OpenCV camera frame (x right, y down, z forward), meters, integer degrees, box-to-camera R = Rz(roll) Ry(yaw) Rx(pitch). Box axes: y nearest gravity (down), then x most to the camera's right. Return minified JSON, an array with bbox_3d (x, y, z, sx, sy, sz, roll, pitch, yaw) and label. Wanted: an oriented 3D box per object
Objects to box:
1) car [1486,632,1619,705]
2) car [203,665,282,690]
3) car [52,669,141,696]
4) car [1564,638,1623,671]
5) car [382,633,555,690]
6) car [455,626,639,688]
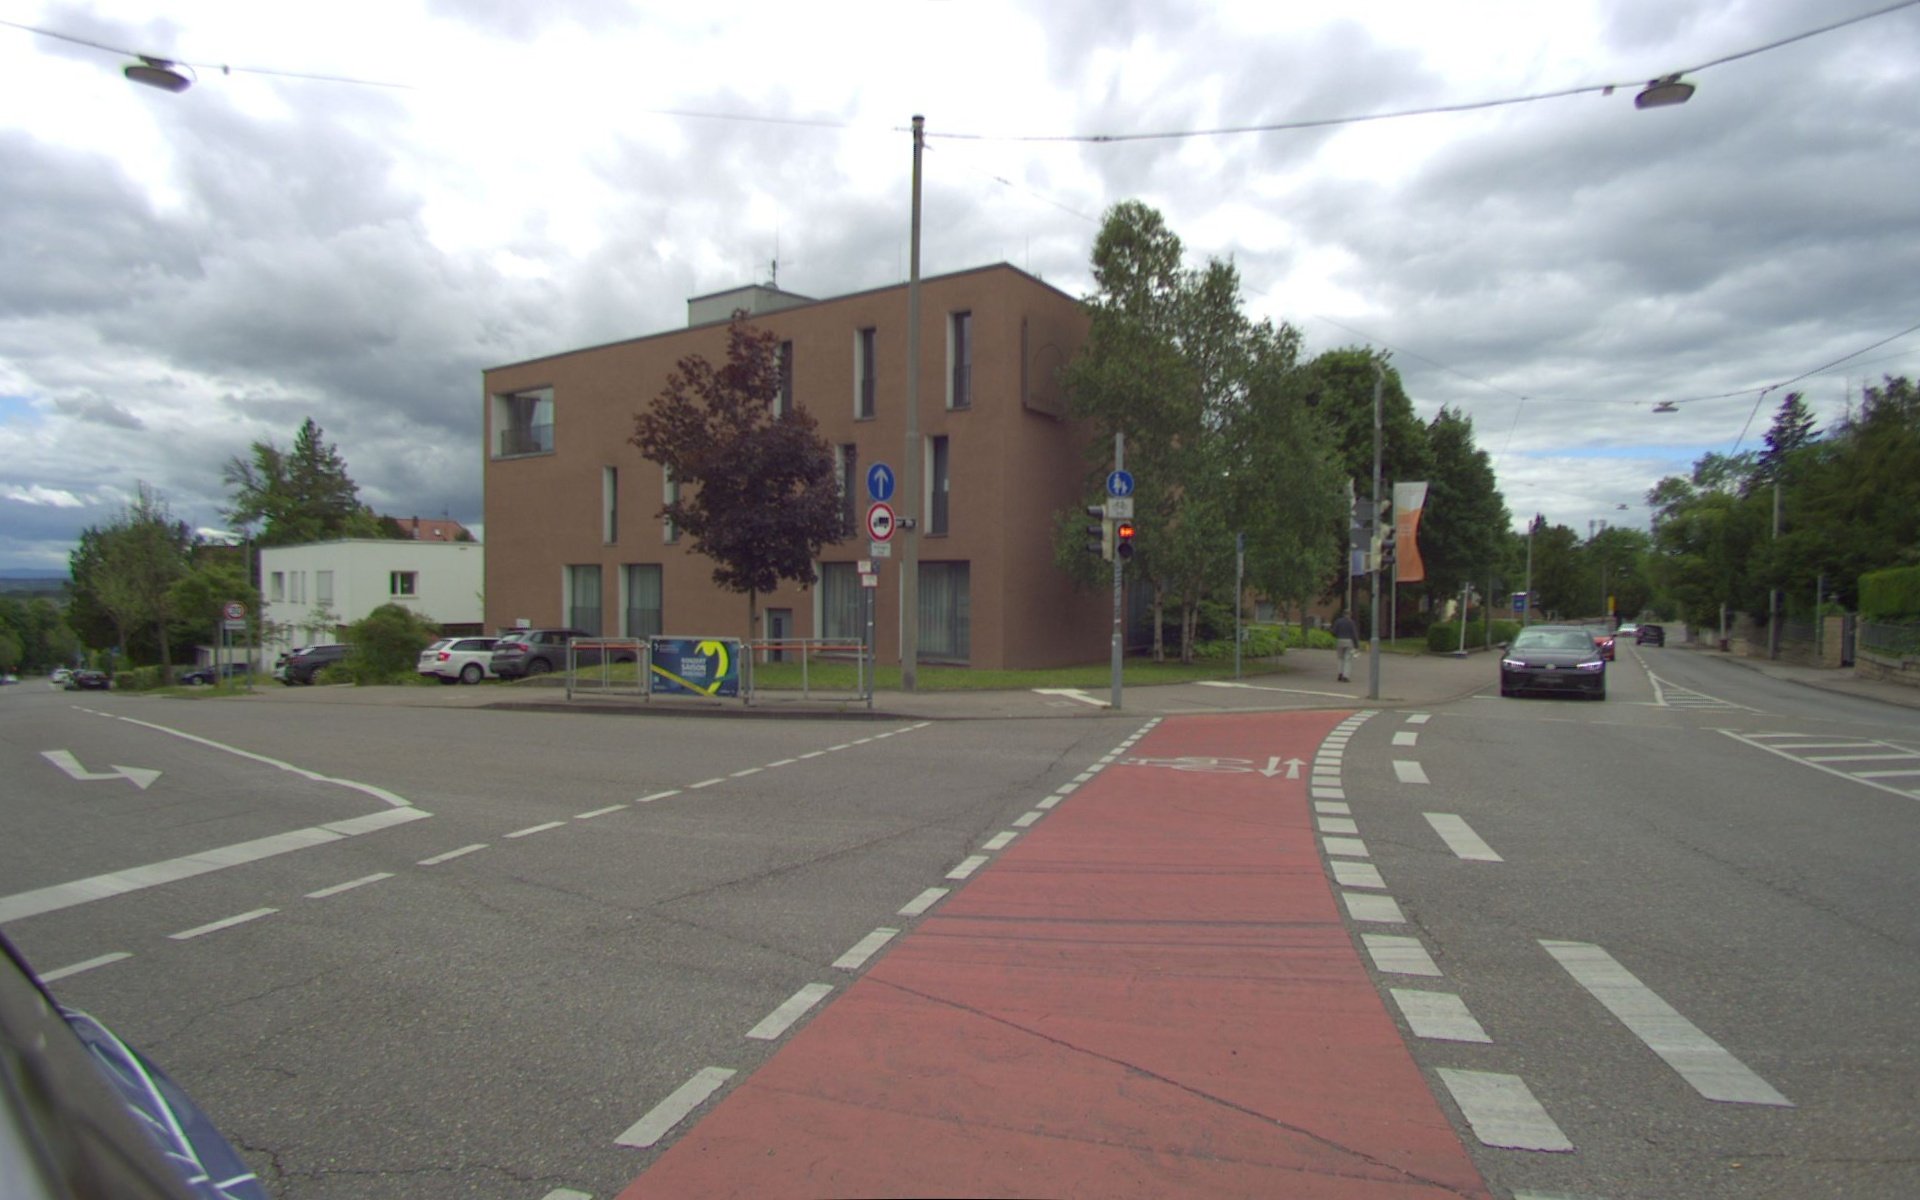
[{"bbox_3d":[12.223,1.347,21.130,1.989,1.253,3.966,1,0,25],"label":"car"},{"bbox_3d":[-52.571,5.637,74.181,1.999,1.570,4.376,-3,-2,41],"label":"car"},{"bbox_3d":[-58.887,5.598,69.067,1.999,1.570,4.376,-3,-2,41],"label":"car"},{"bbox_3d":[26.983,2.287,43.209,1.992,1.209,3.959,0,0,30],"label":"car"},{"bbox_3d":[-15.004,1.825,31.058,1.999,1.570,4.376,-3,-2,41],"label":"car"},{"bbox_3d":[-11.536,1.554,28.471,1.999,1.570,4.376,-3,-2,41],"label":"car"}]
